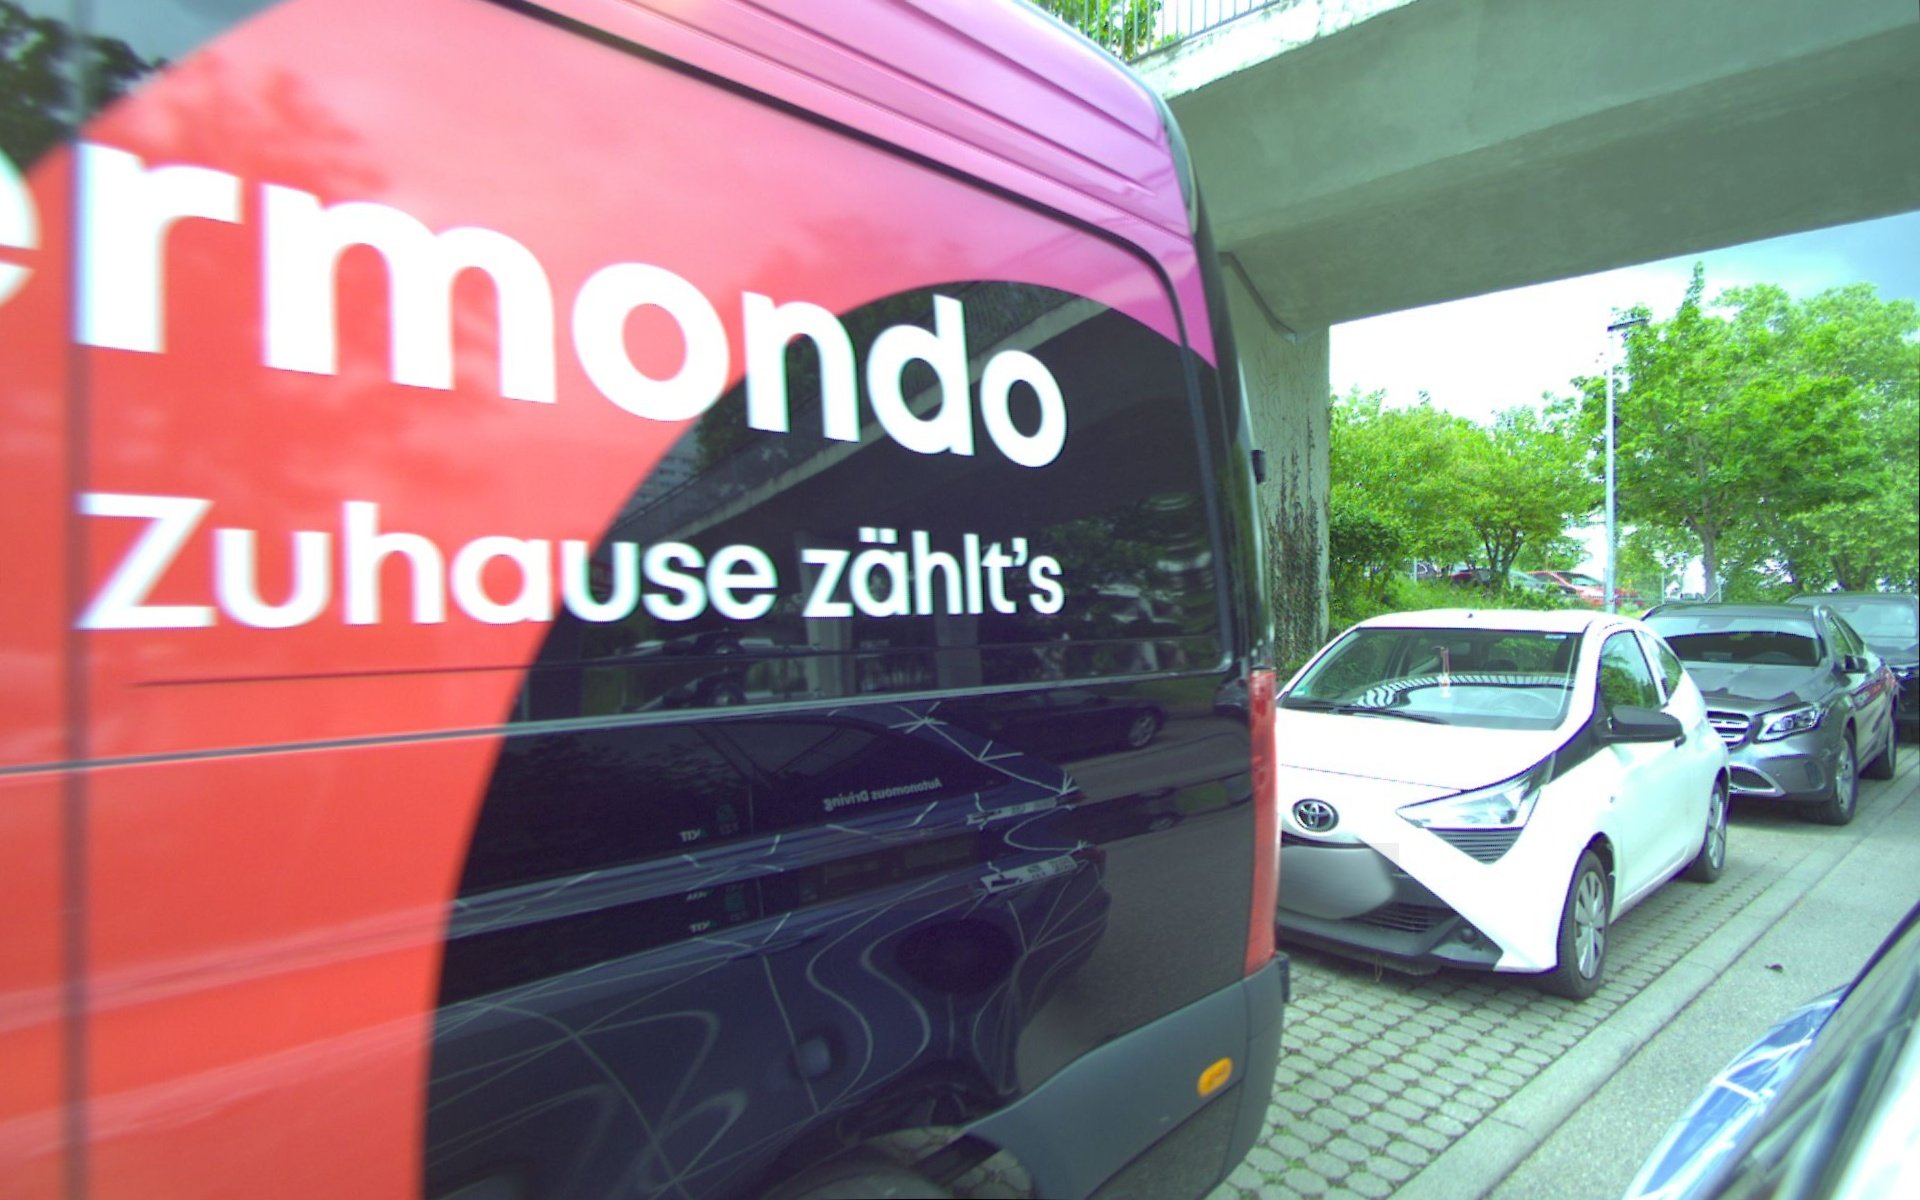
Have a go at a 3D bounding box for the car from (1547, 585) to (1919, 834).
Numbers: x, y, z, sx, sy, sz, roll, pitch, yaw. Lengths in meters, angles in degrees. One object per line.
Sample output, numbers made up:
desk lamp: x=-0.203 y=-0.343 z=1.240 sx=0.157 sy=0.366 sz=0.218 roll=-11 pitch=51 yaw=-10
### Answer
car: x=6.399 y=0.668 z=8.148 sx=4.047 sy=1.515 sz=1.702 roll=0 pitch=0 yaw=-41

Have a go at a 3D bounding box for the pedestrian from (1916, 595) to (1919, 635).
pedestrian: x=41.414 y=0.637 z=43.070 sx=0.580 sy=1.678 sz=0.873 roll=1 pitch=-3 yaw=-25

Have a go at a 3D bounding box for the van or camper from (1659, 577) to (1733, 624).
van or camper: x=46.317 y=0.095 z=63.803 sx=2.083 sy=2.835 sz=4.461 roll=0 pitch=-2 yaw=13

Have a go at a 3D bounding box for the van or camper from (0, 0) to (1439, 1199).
van or camper: x=-1.787 y=0.014 z=0.894 sx=5.375 sy=2.554 sz=1.997 roll=0 pitch=1 yaw=-41

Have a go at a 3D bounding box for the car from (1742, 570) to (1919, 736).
car: x=11.075 y=0.568 z=12.277 sx=4.295 sy=1.699 sz=1.816 roll=1 pitch=0 yaw=-43

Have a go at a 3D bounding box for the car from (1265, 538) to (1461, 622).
car: x=8.938 y=-0.362 z=22.836 sx=1.903 sy=1.635 sz=4.006 roll=1 pitch=-2 yaw=-21

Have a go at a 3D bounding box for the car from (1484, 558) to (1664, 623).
car: x=15.370 y=-0.176 z=25.563 sx=1.649 sy=1.458 sz=3.668 roll=1 pitch=-2 yaw=-18

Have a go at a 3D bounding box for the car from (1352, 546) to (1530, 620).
car: x=11.085 y=-0.322 z=23.590 sx=1.649 sy=1.517 sz=3.668 roll=1 pitch=-2 yaw=-18

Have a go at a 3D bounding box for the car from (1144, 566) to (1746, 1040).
car: x=2.528 y=0.658 z=4.942 sx=3.274 sy=1.515 sz=1.564 roll=1 pitch=0 yaw=-43

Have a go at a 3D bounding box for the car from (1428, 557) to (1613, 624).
car: x=13.484 y=-0.158 z=24.618 sx=1.649 sy=1.440 sz=3.806 roll=1 pitch=-2 yaw=-18
